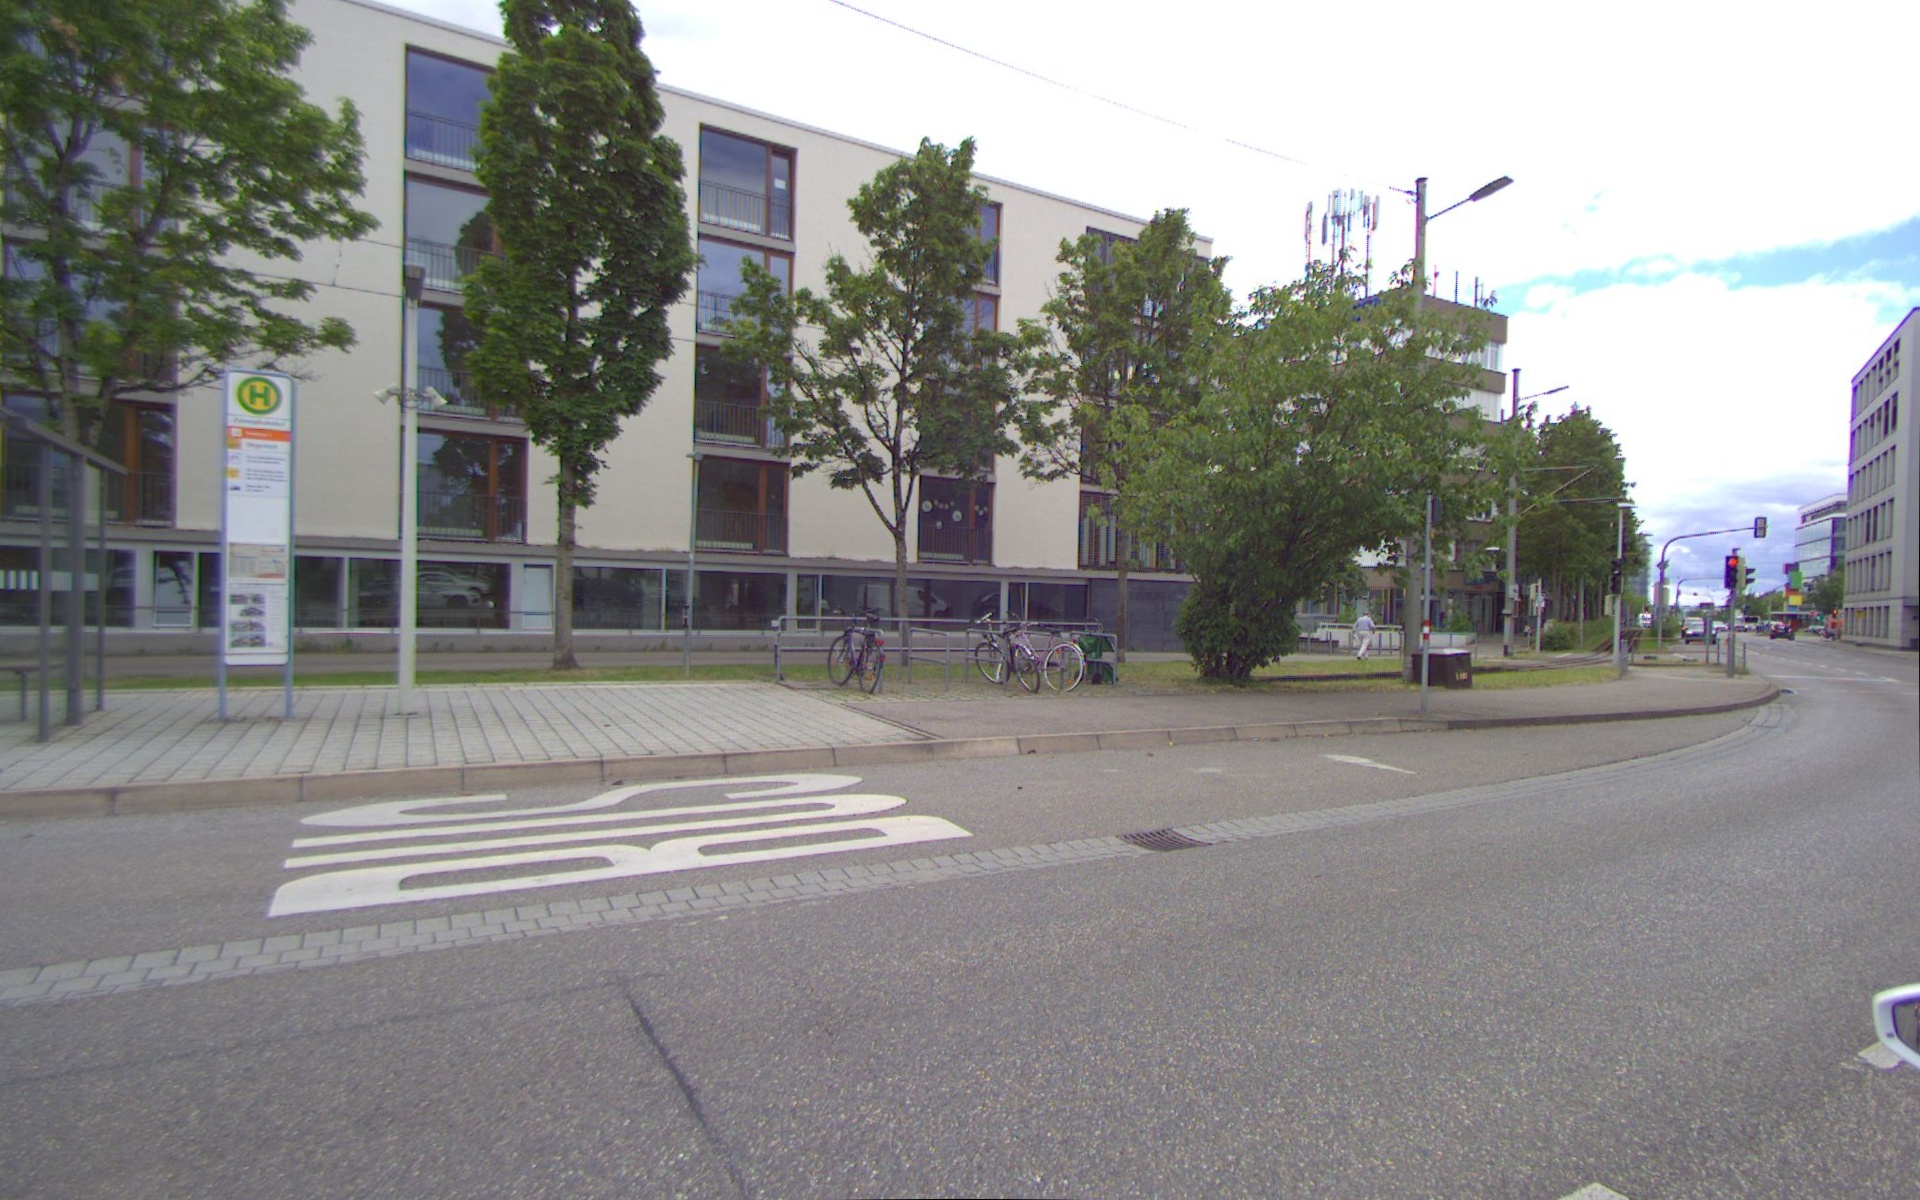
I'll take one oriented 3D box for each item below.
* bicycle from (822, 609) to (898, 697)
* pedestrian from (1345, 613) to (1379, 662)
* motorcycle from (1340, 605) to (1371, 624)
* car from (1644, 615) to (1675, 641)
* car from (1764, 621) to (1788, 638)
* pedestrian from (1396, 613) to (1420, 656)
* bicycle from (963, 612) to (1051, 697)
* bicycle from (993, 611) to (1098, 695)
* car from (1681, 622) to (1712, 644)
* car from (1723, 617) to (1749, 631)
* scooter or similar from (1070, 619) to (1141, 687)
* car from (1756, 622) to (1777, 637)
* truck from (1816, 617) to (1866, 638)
[{"bbox_3d":[-1.371,0.677,13.539,0.391,1.039,1.680,1,2,-28],"label":"bicycle"},{"bbox_3d":[12.859,1.182,32.157,0.836,1.547,0.993,0,-1,33],"label":"pedestrian"},{"bbox_3d":[25.283,0.914,64.183,0.562,1.215,1.868,1,0,-33],"label":"motorcycle"},{"bbox_3d":[51.666,2.043,74.133,1.660,1.832,4.334,-1,-2,38],"label":"car"},{"bbox_3d":[81.300,2.915,100.137,1.737,1.630,4.171,2,0,38],"label":"car"},{"bbox_3d":[18.340,1.417,41.110,0.680,1.728,0.678,0,-1,45],"label":"pedestrian"},{"bbox_3d":[0.651,0.753,14.461,0.403,1.060,1.741,1,2,-28],"label":"bicycle"},{"bbox_3d":[1.237,0.754,14.858,0.405,1.103,1.689,1,2,-42],"label":"bicycle"},{"bbox_3d":[52.637,2.345,71.787,1.746,1.498,3.985,-1,-2,37],"label":"car"},{"bbox_3d":[114.449,3.556,148.199,1.961,1.877,3.998,1,0,23],"label":"car"},{"bbox_3d":[2.303,0.827,15.909,0.767,1.023,0.781,1,0,-38],"label":"scooter or similar"},{"bbox_3d":[92.020,3.299,114.571,1.737,1.630,4.171,2,0,38],"label":"car"},{"bbox_3d":[92.462,2.894,105.523,1.961,2.040,6.401,2,0,22],"label":"truck"}]
